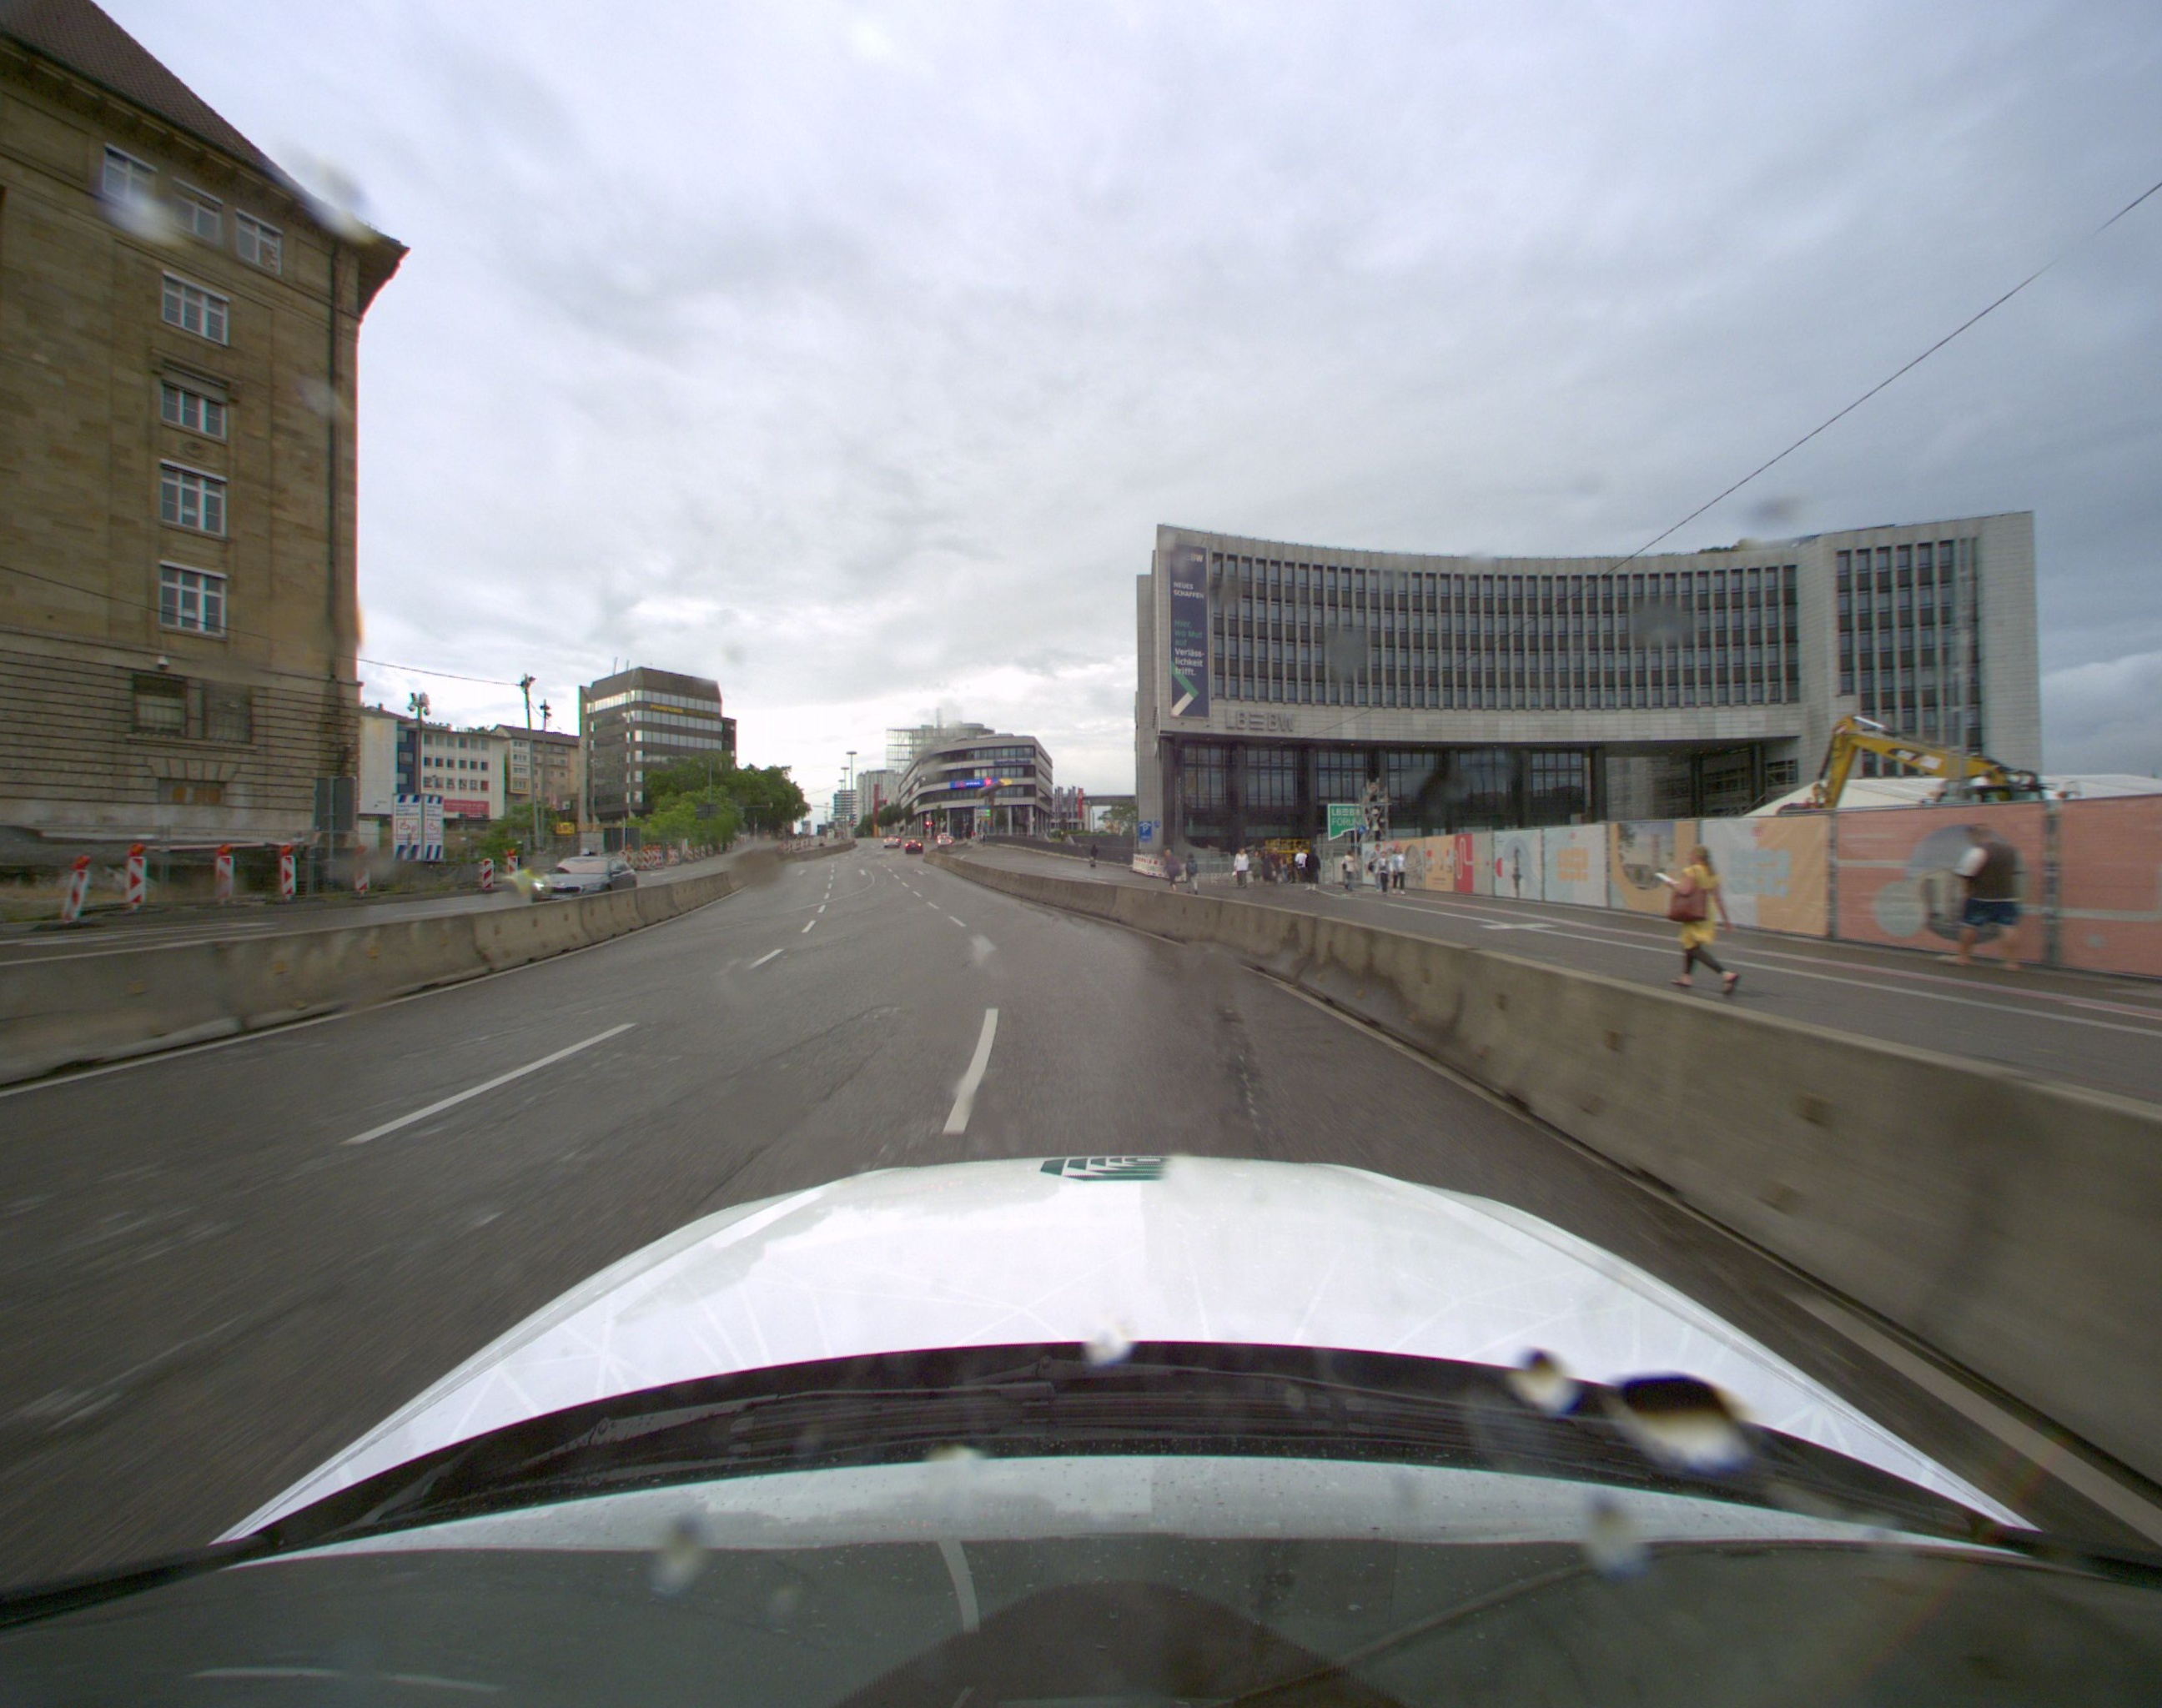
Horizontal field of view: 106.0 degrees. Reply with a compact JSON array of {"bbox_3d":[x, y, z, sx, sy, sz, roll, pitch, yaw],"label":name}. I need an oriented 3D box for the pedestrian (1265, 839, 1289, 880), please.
[{"bbox_3d":[8.959,0.252,37.273,0.862,1.818,1.009,0,-1,3],"label":"pedestrian"}]

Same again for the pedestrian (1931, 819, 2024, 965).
[{"bbox_3d":[11.027,0.453,10.029,0.564,1.748,0.495,0,-1,1],"label":"pedestrian"}]

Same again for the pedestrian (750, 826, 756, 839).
[{"bbox_3d":[-50.302,-3.253,124.740,0.762,1.922,0.738,0,-1,-15],"label":"pedestrian"}]

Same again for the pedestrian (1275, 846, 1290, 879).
[{"bbox_3d":[10.962,0.451,44.348,0.766,1.783,1.011,-1,-1,12],"label":"pedestrian"}]

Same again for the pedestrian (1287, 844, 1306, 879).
[{"bbox_3d":[11.010,0.388,41.655,0.860,1.781,1.011,-1,-1,12],"label":"pedestrian"}]

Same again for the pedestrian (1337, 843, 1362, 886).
[{"bbox_3d":[10.659,0.421,32.354,0.860,1.689,1.011,-1,-1,12],"label":"pedestrian"}]

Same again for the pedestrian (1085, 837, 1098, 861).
[{"bbox_3d":[0.744,-0.344,56.158,0.725,1.652,1.064,0,0,11],"label":"pedestrian"}]

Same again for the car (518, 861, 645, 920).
[{"bbox_3d":[-14.332,0.984,23.663,1.768,1.521,4.369,0,-1,-12],"label":"car"}]

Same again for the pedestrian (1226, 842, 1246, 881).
[{"bbox_3d":[6.841,0.325,35.959,0.774,1.723,0.892,0,-1,3],"label":"pedestrian"}]

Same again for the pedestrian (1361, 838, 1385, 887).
[{"bbox_3d":[11.030,0.325,30.803,0.811,1.849,0.936,-1,-1,19],"label":"pedestrian"}]

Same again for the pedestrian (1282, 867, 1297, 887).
[{"bbox_3d":[17.429,1.924,68.063,0.858,1.637,1.014,-1,-1,32],"label":"pedestrian"}]

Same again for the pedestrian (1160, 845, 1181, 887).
[{"bbox_3d":[3.450,0.465,31.385,0.727,1.575,0.807,1,0,11],"label":"pedestrian"}]

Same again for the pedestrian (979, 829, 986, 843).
[{"bbox_3d":[-12.041,-2.159,99.715,0.731,1.711,0.838,0,-1,-18],"label":"pedestrian"}]

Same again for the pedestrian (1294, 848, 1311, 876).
[{"bbox_3d":[12.193,0.432,44.794,0.860,1.553,1.011,-1,-1,12],"label":"pedestrian"}]

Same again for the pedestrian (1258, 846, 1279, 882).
[{"bbox_3d":[8.313,0.437,36.119,0.711,1.553,1.009,0,-1,3],"label":"pedestrian"}]

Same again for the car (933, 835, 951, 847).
[{"bbox_3d":[-17.316,-1.622,101.247,1.705,1.451,4.590,0,1,-17],"label":"car"}]

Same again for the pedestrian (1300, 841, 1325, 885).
[{"bbox_3d":[9.296,0.370,32.719,0.860,1.725,1.011,-1,-1,12],"label":"pedestrian"}]

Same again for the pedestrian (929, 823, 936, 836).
[{"bbox_3d":[-24.162,-3.963,132.579,0.859,2.098,0.894,1,1,-40],"label":"pedestrian"}]

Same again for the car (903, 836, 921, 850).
[{"bbox_3d":[-18.244,-1.187,87.672,1.757,1.407,4.208,1,0,-14],"label":"car"}]

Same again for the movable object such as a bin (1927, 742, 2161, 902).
[{"bbox_3d":[23.605,-0.670,19.542,1.937,3.409,4.216,0,-1,-9],"label":"movable object such as a bin"}]

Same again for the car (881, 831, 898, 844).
[{"bbox_3d":[-24.150,-2.075,102.951,1.965,1.548,4.202,0,2,-12],"label":"car"}]

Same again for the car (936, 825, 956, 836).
[{"bbox_3d":[-19.263,-3.357,116.107,1.763,1.634,4.586,0,2,3],"label":"car"}]

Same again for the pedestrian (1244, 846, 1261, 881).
[{"bbox_3d":[7.594,0.438,36.127,0.606,1.522,0.886,0,-1,3],"label":"pedestrian"}]

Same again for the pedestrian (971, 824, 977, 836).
[{"bbox_3d":[-16.792,-3.796,127.789,0.835,1.904,0.863,-1,-1,9],"label":"pedestrian"}]

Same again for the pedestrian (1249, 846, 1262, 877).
[{"bbox_3d":[9.552,0.405,44.610,0.693,1.637,0.919,-1,-1,12],"label":"pedestrian"}]

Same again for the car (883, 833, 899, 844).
[{"bbox_3d":[-26.227,-2.138,112.146,1.745,1.443,3.974,0,1,-20],"label":"car"}]

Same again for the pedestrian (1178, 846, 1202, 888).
[{"bbox_3d":[4.215,0.496,31.458,0.855,1.593,0.955,-1,-1,11],"label":"pedestrian"}]

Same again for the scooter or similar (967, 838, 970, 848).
[{"bbox_3d":[-13.086,-1.297,94.737,0.348,1.162,0.572,0,0,-2],"label":"scooter or similar"}]

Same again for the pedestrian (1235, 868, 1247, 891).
[{"bbox_3d":[11.978,1.906,60.924,0.580,1.637,0.757,-1,-1,31],"label":"pedestrian"}]

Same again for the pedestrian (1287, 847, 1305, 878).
[{"bbox_3d":[11.358,0.438,43.094,0.860,1.637,1.011,-1,-1,12],"label":"pedestrian"}]

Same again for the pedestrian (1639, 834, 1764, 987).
[{"bbox_3d":[6.992,0.606,9.216,0.648,1.632,0.902,0,-1,-16],"label":"pedestrian"}]

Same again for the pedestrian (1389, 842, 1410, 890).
[{"bbox_3d":[11.216,0.410,28.709,0.641,1.655,0.769,-1,-1,19],"label":"pedestrian"}]

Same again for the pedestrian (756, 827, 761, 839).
[{"bbox_3d":[-49.537,-3.234,125.003,0.673,1.901,0.772,0,-1,-15],"label":"pedestrian"}]

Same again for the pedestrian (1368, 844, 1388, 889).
[{"bbox_3d":[10.456,0.434,28.675,0.641,1.553,0.769,-1,-1,19],"label":"pedestrian"}]
